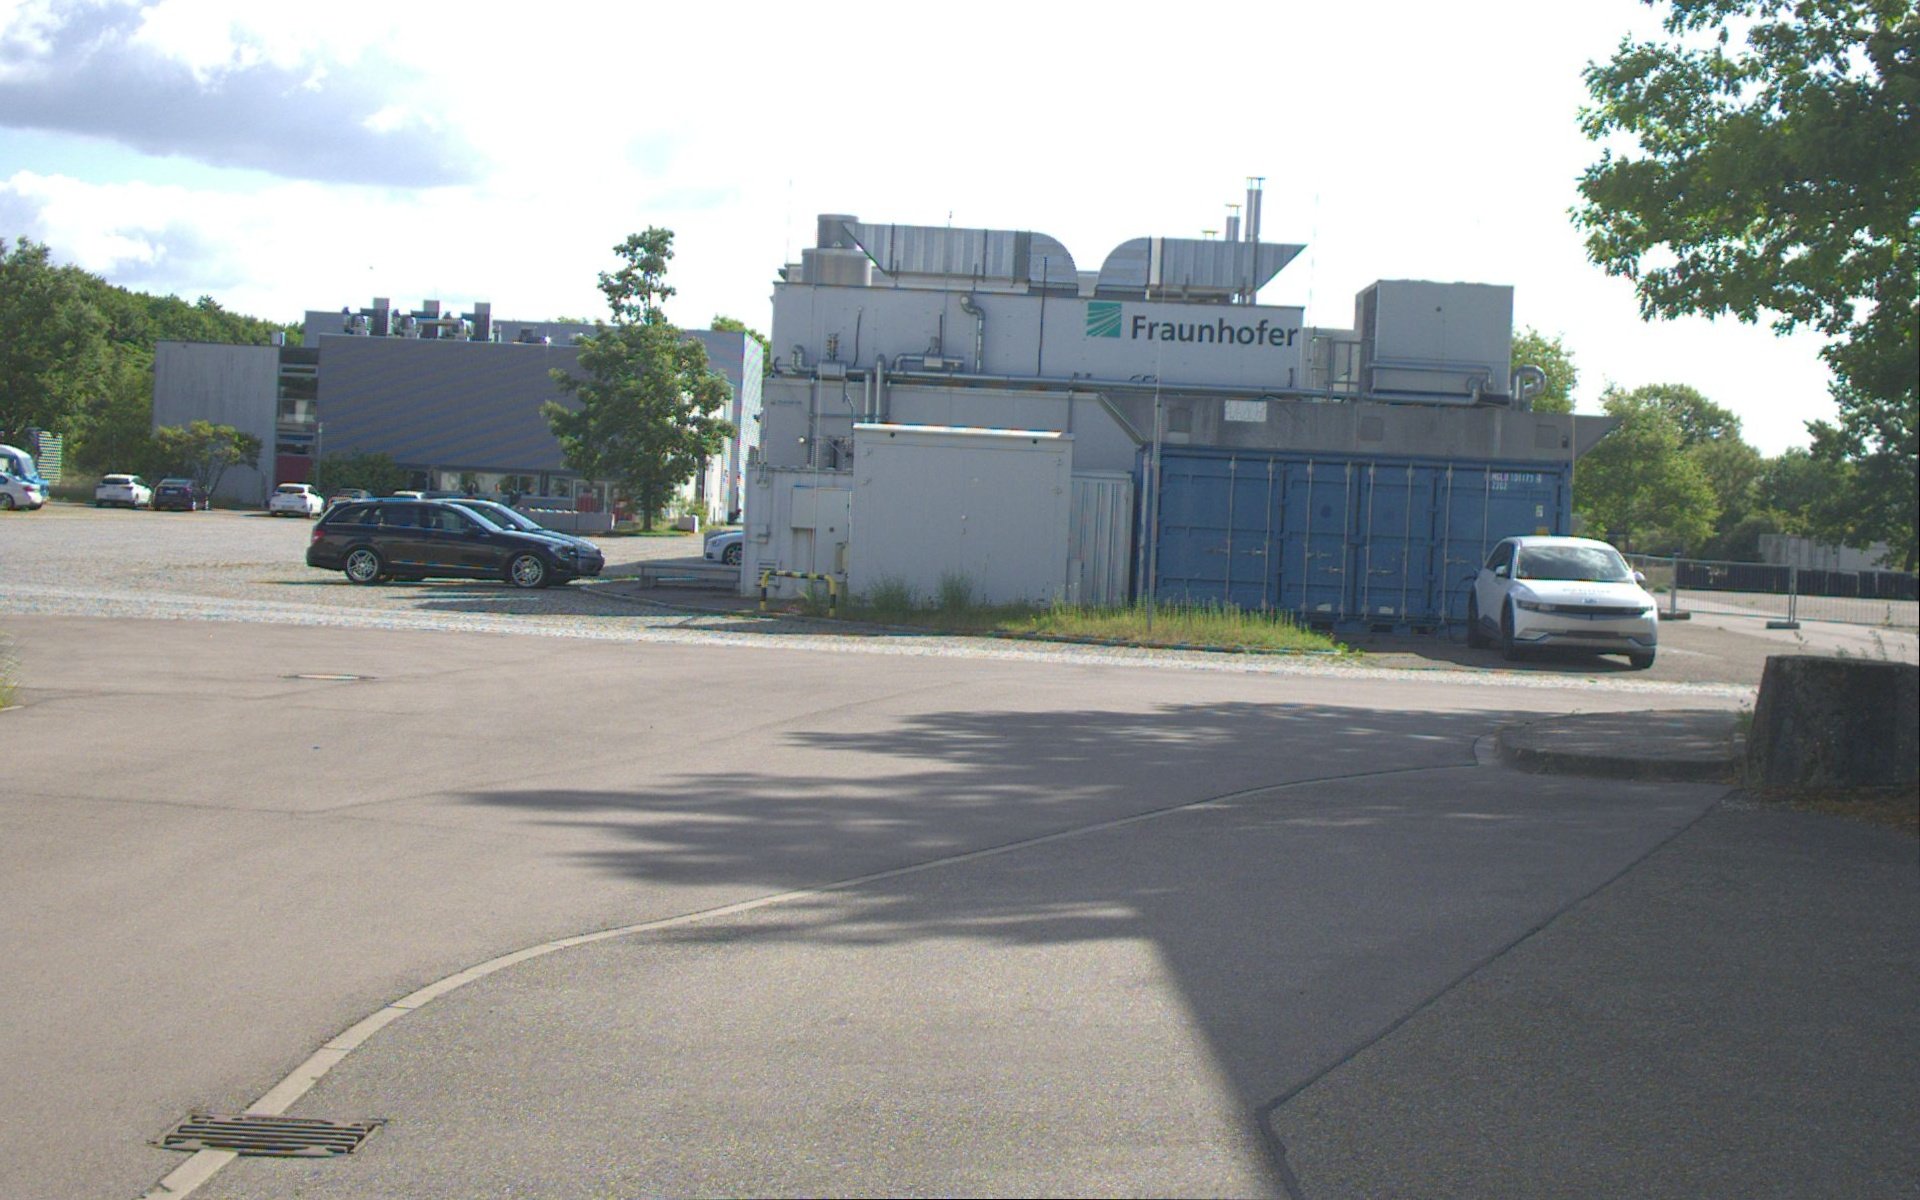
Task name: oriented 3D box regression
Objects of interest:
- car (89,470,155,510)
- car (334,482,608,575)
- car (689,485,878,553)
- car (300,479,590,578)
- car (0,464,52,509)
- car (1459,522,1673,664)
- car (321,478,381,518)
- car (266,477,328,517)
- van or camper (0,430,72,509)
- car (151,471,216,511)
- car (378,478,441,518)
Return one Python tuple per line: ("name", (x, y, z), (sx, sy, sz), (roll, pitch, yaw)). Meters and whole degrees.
("car", (-37.789, -4.944, 155.036), (1.993, 1.730, 4.000), (1, 1, 0))
("car", (-8.686, -1.278, 61.329), (4.526, 1.503, 1.909), (2, 1, 2))
("car", (-4.378, -2.018, 85.639), (4.526, 1.503, 1.909), (2, 1, 1))
("car", (-8.668, -1.214, 58.092), (4.526, 1.503, 1.909), (2, 1, 2))
("car", (-36.224, -4.279, 128.559), (3.987, 1.604, 2.000), (2, 1, -1))
("car", (7.903, -0.138, 45.187), (1.993, 1.580, 4.173), (2, 3, 0))
("car", (-27.454, -4.589, 155.032), (1.993, 1.730, 4.000), (1, 1, 0))
("car", (-29.949, -4.630, 155.408), (1.993, 1.730, 4.000), (1, 1, 0))
("van or camper", (-37.247, -5.047, 131.813), (5.714, 2.918, 2.474), (2, 1, -2))
("car", (-34.982, -4.905, 154.954), (1.993, 1.730, 4.000), (1, 1, 0))
("car", (-24.866, -4.592, 155.349), (2.193, 1.730, 4.000), (1, 1, 0))
